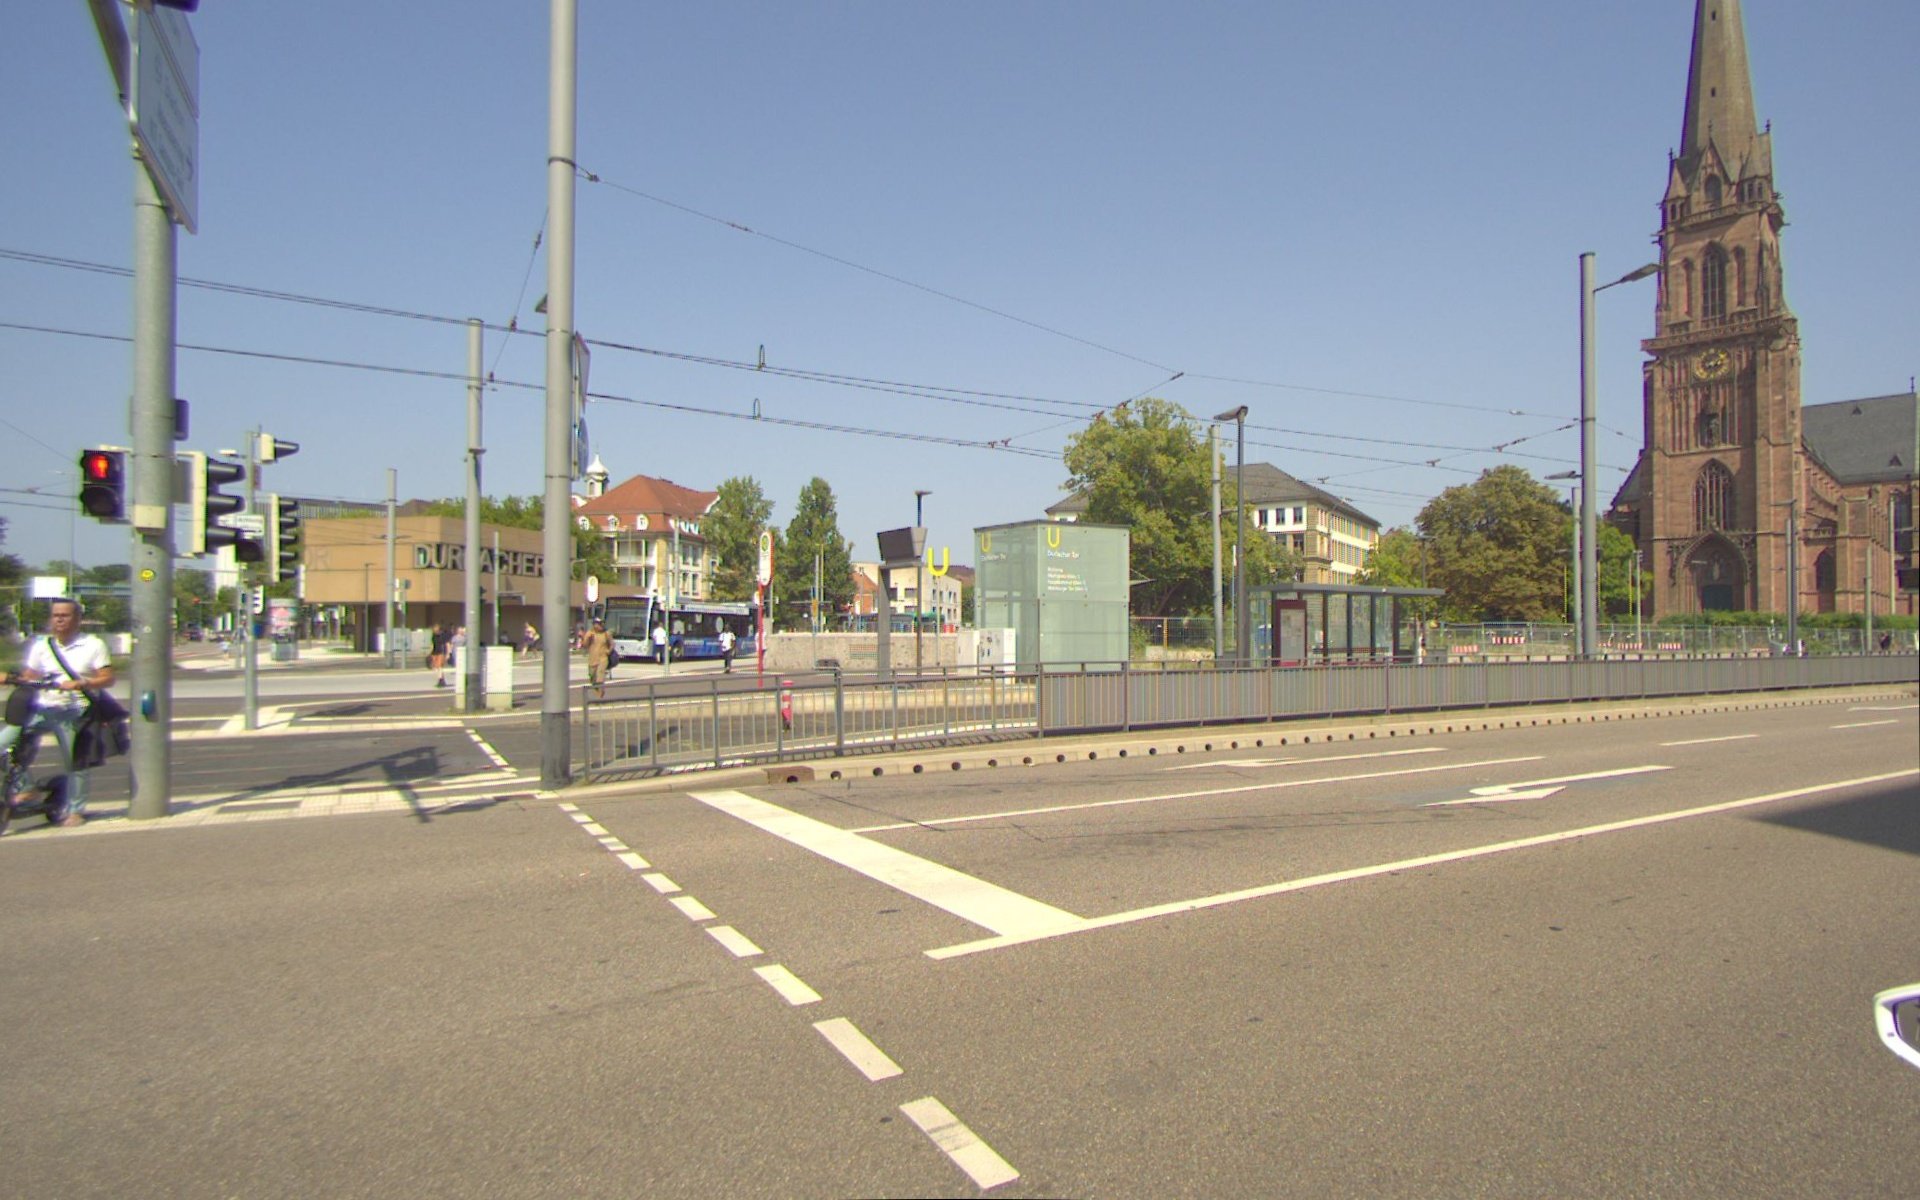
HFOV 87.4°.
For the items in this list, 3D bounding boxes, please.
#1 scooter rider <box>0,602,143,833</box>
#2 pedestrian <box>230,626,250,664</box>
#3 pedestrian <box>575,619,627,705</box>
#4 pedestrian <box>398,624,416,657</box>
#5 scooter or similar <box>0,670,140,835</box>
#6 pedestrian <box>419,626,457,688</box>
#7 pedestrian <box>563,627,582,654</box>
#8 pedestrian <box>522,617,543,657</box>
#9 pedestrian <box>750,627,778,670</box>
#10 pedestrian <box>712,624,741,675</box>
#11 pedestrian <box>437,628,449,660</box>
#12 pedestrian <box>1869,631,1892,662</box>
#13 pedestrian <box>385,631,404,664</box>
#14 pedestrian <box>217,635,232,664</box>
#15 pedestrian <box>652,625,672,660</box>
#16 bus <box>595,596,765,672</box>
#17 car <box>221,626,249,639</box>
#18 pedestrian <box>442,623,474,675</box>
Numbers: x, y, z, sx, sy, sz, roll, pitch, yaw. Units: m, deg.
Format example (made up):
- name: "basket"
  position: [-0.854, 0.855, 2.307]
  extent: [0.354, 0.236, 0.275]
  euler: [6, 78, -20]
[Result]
- name: "scooter rider"
  position: [-6.986, 0.882, 7.906]
  extent: [0.771, 1.695, 0.766]
  euler: [1, -2, -35]
- name: "pedestrian"
  position: [-35.078, 2.189, 48.932]
  extent: [0.549, 1.840, 0.561]
  euler: [-1, -2, 14]
- name: "pedestrian"
  position: [-7.283, 1.248, 20.376]
  extent: [0.565, 1.681, 0.797]
  euler: [-1, 0, 40]
- name: "pedestrian"
  position: [-29.270, 2.141, 53.137]
  extent: [0.567, 1.698, 0.587]
  euler: [-2, 0, 15]
- name: "scooter or similar"
  position: [-7.032, 1.155, 7.920]
  extent: [0.702, 1.163, 1.331]
  euler: [1, -5, -33]
- name: "pedestrian"
  position: [-15.355, 1.665, 29.550]
  extent: [0.947, 1.803, 0.780]
  euler: [2, -2, -29]
- name: "pedestrian"
  position: [-25.554, 2.676, 66.256]
  extent: [0.779, 1.701, 0.856]
  euler: [-2, 0, 15]
- name: "pedestrian"
  position: [-19.627, 1.712, 46.103]
  extent: [0.775, 1.803, 0.953]
  euler: [2, -2, -25]
- name: "pedestrian"
  position: [-7.224, 1.786, 37.039]
  extent: [0.768, 1.569, 0.679]
  euler: [1, -1, 8]
- name: "pedestrian"
  position: [-8.121, 1.702, 34.922]
  extent: [0.768, 1.751, 0.679]
  euler: [0, -2, 8]
- name: "pedestrian"
  position: [-27.664, 2.359, 53.761]
  extent: [0.564, 1.667, 0.508]
  euler: [-1, 0, -29]
- name: "pedestrian"
  position: [53.026, 2.700, 57.870]
  extent: [0.712, 1.774, 0.825]
  euler: [2, -2, -30]
- name: "pedestrian"
  position: [-29.490, 2.458, 52.402]
  extent: [0.567, 1.698, 0.587]
  euler: [-2, 0, 15]
- name: "pedestrian"
  position: [-35.406, 2.380, 48.369]
  extent: [0.342, 1.393, 0.462]
  euler: [-1, -2, 14]
- name: "pedestrian"
  position: [-13.184, 1.872, 44.421]
  extent: [0.588, 1.548, 0.577]
  euler: [1, -2, 13]
- name: "bus"
  position: [-13.688, 1.670, 50.879]
  extent: [2.623, 3.375, 12.767]
  euler: [0, -1, 12]
- name: "car"
  position: [-95.949, 4.329, 132.957]
  extent: [1.874, 1.674, 4.635]
  euler: [0, -2, -21]
- name: "pedestrian"
  position: [-17.802, 1.747, 35.616]
  extent: [0.947, 1.803, 0.780]
  euler: [2, -2, -29]
